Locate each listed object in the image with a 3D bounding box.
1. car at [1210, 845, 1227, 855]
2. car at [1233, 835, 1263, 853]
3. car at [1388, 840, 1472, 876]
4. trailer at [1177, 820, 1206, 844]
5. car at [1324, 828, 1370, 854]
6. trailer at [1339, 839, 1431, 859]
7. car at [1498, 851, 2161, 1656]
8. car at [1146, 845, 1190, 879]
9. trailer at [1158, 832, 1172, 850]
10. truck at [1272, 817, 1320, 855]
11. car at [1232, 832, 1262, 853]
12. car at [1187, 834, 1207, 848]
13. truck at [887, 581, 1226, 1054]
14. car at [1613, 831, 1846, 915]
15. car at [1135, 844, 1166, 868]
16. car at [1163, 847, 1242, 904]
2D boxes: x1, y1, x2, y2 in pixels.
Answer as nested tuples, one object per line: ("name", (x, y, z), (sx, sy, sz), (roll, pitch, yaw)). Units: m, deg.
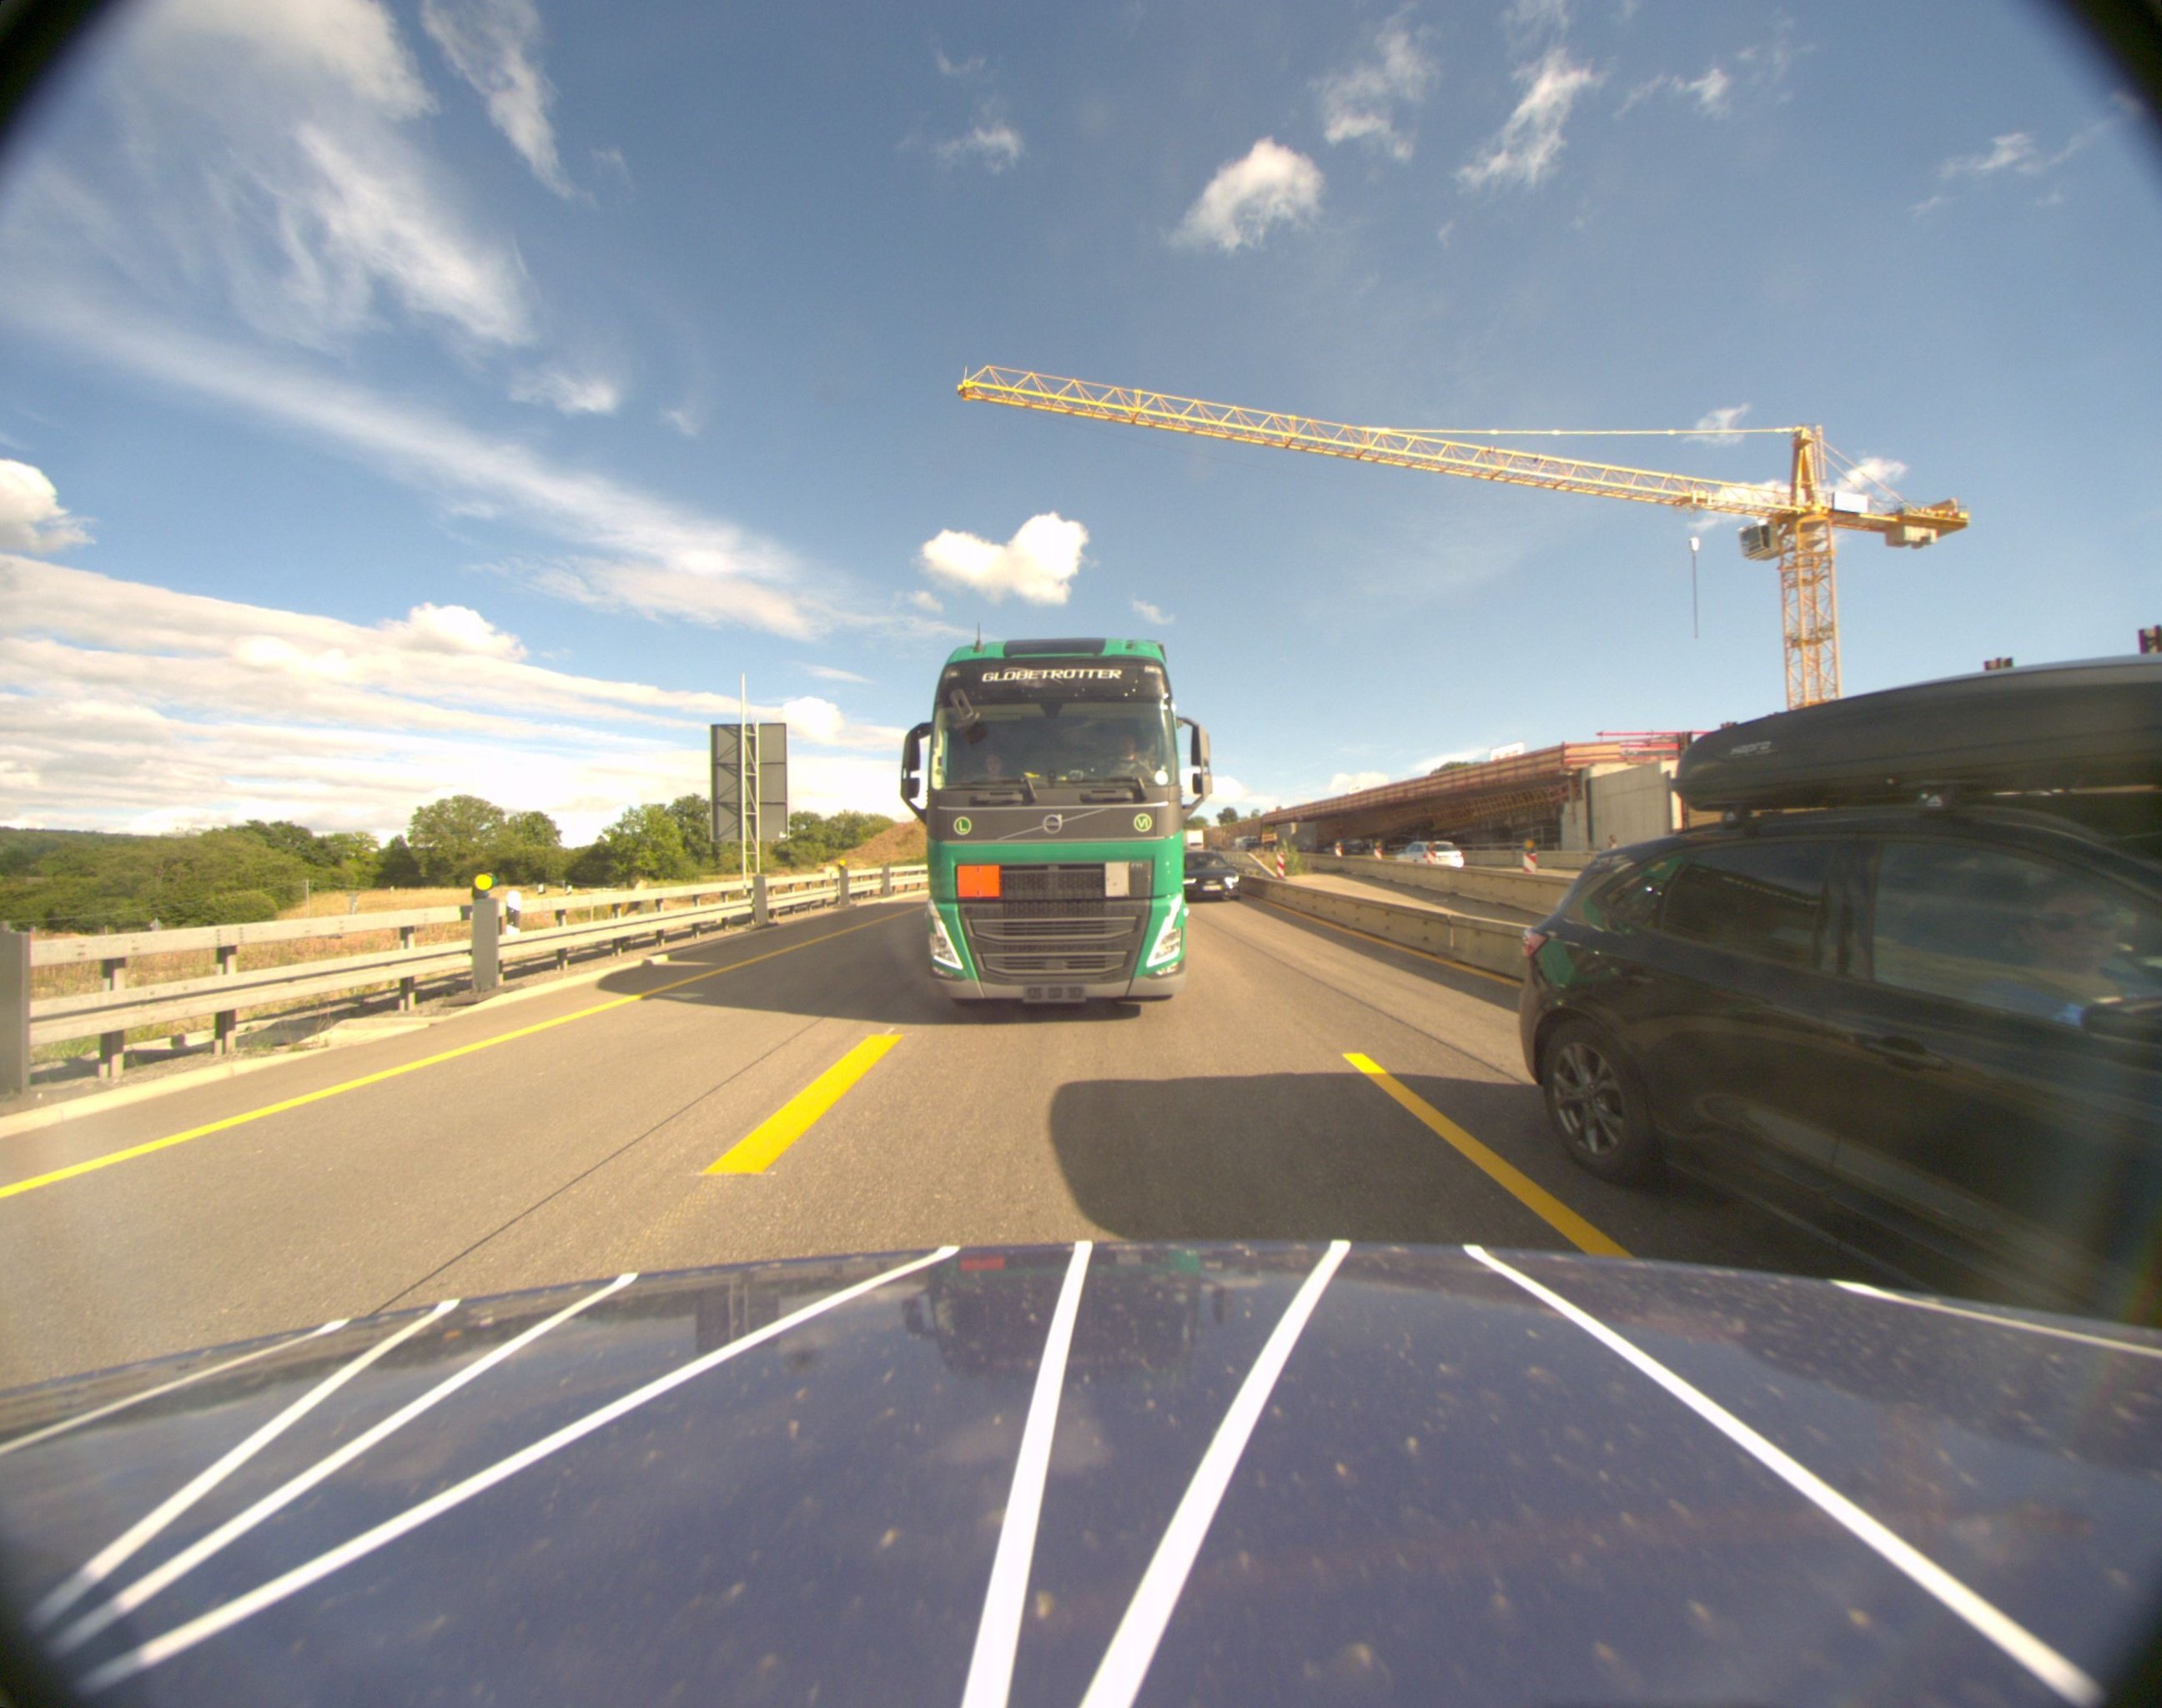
("car", (19.759, -0.566, 109.180), (1.924, 1.265, 4.000), (-2, 2, 4))
("car", (16.522, -0.922, 75.493), (1.857, 1.626, 4.748), (-2, 0, 0))
("car", (15.272, 0.170, 33.514), (1.856, 1.431, 4.560), (-2, 0, 5))
("trailer", (19.209, -3.825, 132.791), (2.828, 3.820, 13.798), (-2, 2, -1))
("car", (19.739, -1.009, 56.484), (1.998, 1.794, 4.444), (-2, 2, 3))
("trailer", (19.344, -0.379, 49.157), (2.357, 0.934, 10.328), (-2, 2, 3))
("car", (3.018, 0.784, 1.769), (1.804, 1.533, 4.385), (-2, 0, 2))
("car", (4.478, 0.366, 39.885), (1.806, 1.555, 4.561), (-2, 2, 1))
("trailer", (20.180, -3.265, 183.184), (2.693, 4.132, 13.812), (-2, 2, 4))
("truck", (20.174, -1.680, 71.775), (2.707, 3.293, 7.536), (-2, 2, 3))
("car", (19.793, -1.395, 90.660), (2.264, 2.389, 5.865), (-2, 2, 0))
("car", (16.489, -1.824, 107.858), (2.131, 1.755, 5.031), (-2, 0, 1))
("truck", (-0.134, -0.420, 11.481), (2.663, 3.826, 10.314), (-2, 2, 1))
("car", (12.767, 0.346, 15.314), (1.757, 1.431, 3.807), (-2, 0, 8))
("car", (5.006, 0.126, 55.236), (1.806, 1.555, 4.561), (-2, 2, 1))
("car", (3.659, 0.595, 23.621), (1.806, 1.448, 4.660), (-2, 2, 2))
